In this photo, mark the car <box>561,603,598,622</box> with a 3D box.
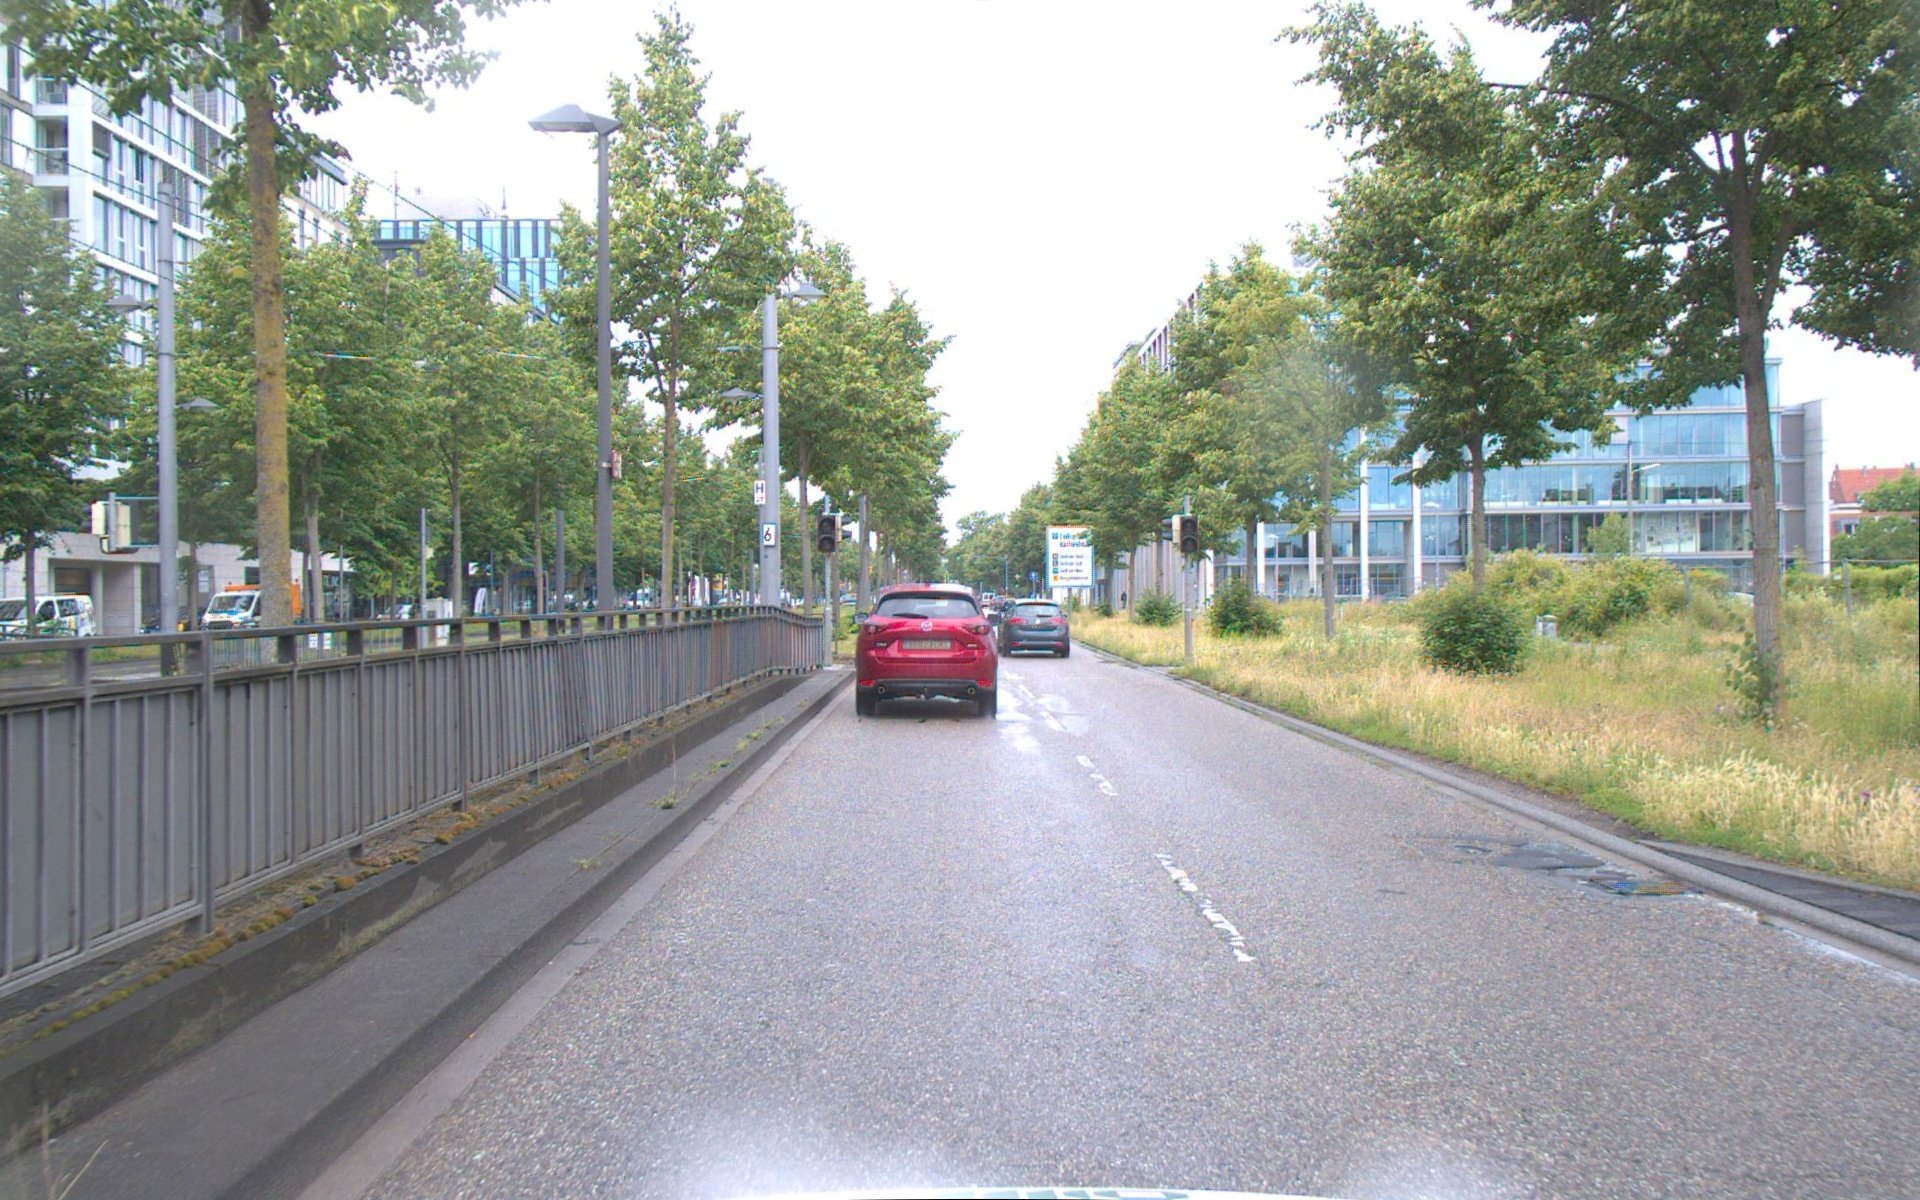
[{"bbox_3d":[-29.434,0.946,128.136,1.953,1.402,3.999,0,0,-1],"label":"car"}]

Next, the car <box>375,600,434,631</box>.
[{"bbox_3d":[-28.785,0.783,85.813,1.817,1.490,3.987,-1,0,-1],"label":"car"}]

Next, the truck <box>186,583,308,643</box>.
[{"bbox_3d":[-29.303,0.500,68.284,2.377,2.331,6.308,0,0,-1],"label":"truck"}]

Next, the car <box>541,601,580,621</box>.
[{"bbox_3d":[-29.405,0.799,121.910,1.953,1.402,3.999,0,0,-1],"label":"car"}]

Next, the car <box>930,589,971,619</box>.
[{"bbox_3d":[-0.528,0.197,83.562,1.928,1.462,4.550,1,0,-2],"label":"car"}]

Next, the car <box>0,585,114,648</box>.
[{"bbox_3d":[-28.679,0.487,51.624,1.953,1.884,5.163,0,0,-1],"label":"car"}]

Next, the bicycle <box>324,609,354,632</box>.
[{"bbox_3d":[-27.056,0.906,72.064,0.586,0.961,1.758,-1,0,3],"label":"bicycle"}]

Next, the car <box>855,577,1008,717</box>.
[{"bbox_3d":[-0.391,0.567,22.195,1.860,1.706,3.999,0,0,-1],"label":"car"}]

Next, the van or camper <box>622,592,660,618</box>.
[{"bbox_3d":[-29.814,0.416,154.744,2.383,2.356,5.849,0,0,-1],"label":"van or camper"}]

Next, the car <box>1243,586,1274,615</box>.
[{"bbox_3d":[19.952,0.024,110.630,1.815,1.609,4.002,0,-5,6],"label":"car"}]

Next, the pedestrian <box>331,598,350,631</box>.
[{"bbox_3d":[-38.457,0.916,102.697,0.777,2.016,0.856,0,0,7],"label":"pedestrian"}]

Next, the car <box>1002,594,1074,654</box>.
[{"bbox_3d":[1.976,0.582,42.846,1.708,1.490,3.781,0,0,0],"label":"car"}]
